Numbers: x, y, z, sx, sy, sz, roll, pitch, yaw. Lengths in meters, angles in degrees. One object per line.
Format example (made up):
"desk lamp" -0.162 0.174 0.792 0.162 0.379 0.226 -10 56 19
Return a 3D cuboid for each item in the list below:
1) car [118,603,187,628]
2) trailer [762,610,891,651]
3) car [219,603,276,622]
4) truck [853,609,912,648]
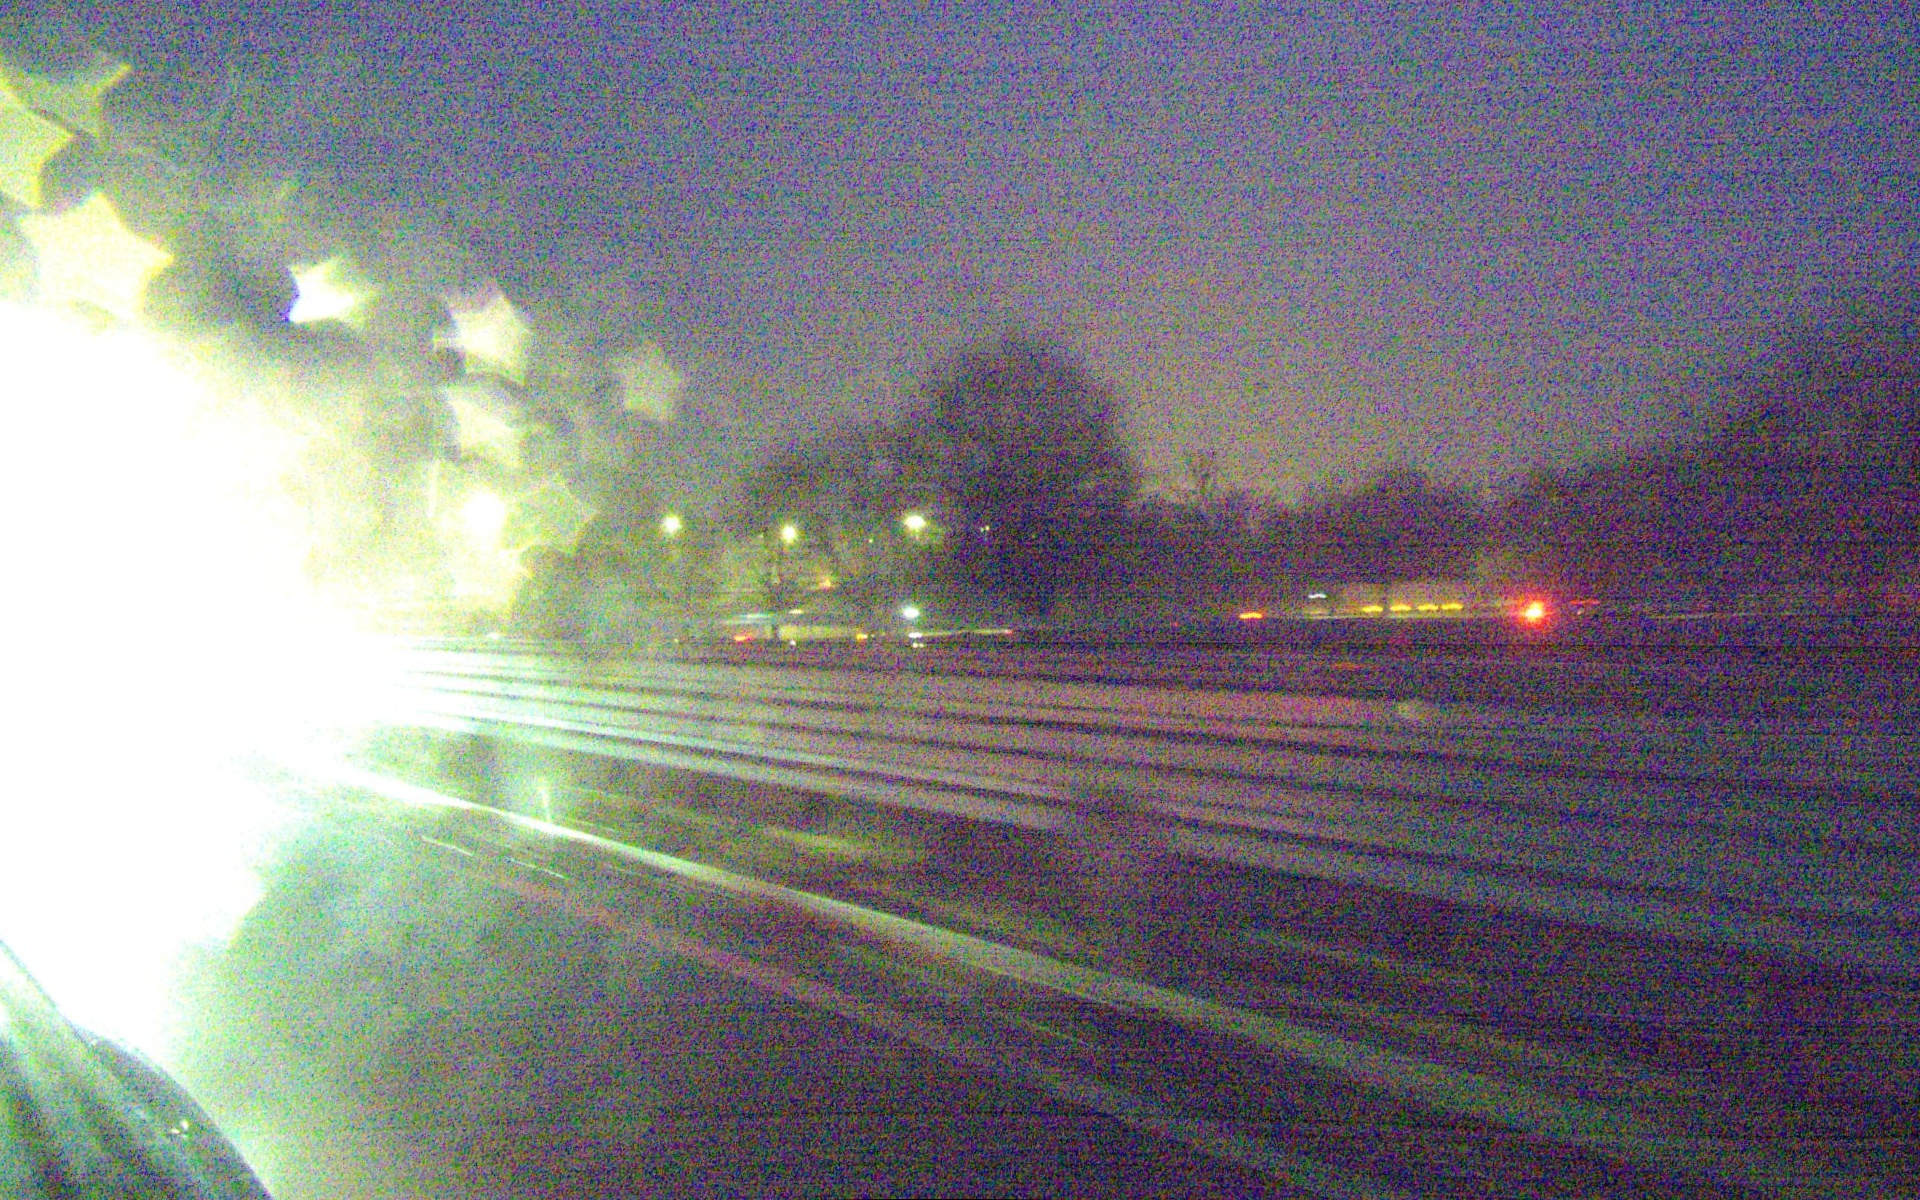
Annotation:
"car" -66.399 1.260 83.276 1.990 1.807 3.965 -3 1 27
"trailer" -14.308 3.265 108.047 13.524 3.752 2.588 -3 1 15
"car" -65.740 1.183 93.427 1.708 1.452 3.969 -4 1 23
"truck" -8.136 2.971 106.399 5.406 3.739 2.585 -3 1 14
